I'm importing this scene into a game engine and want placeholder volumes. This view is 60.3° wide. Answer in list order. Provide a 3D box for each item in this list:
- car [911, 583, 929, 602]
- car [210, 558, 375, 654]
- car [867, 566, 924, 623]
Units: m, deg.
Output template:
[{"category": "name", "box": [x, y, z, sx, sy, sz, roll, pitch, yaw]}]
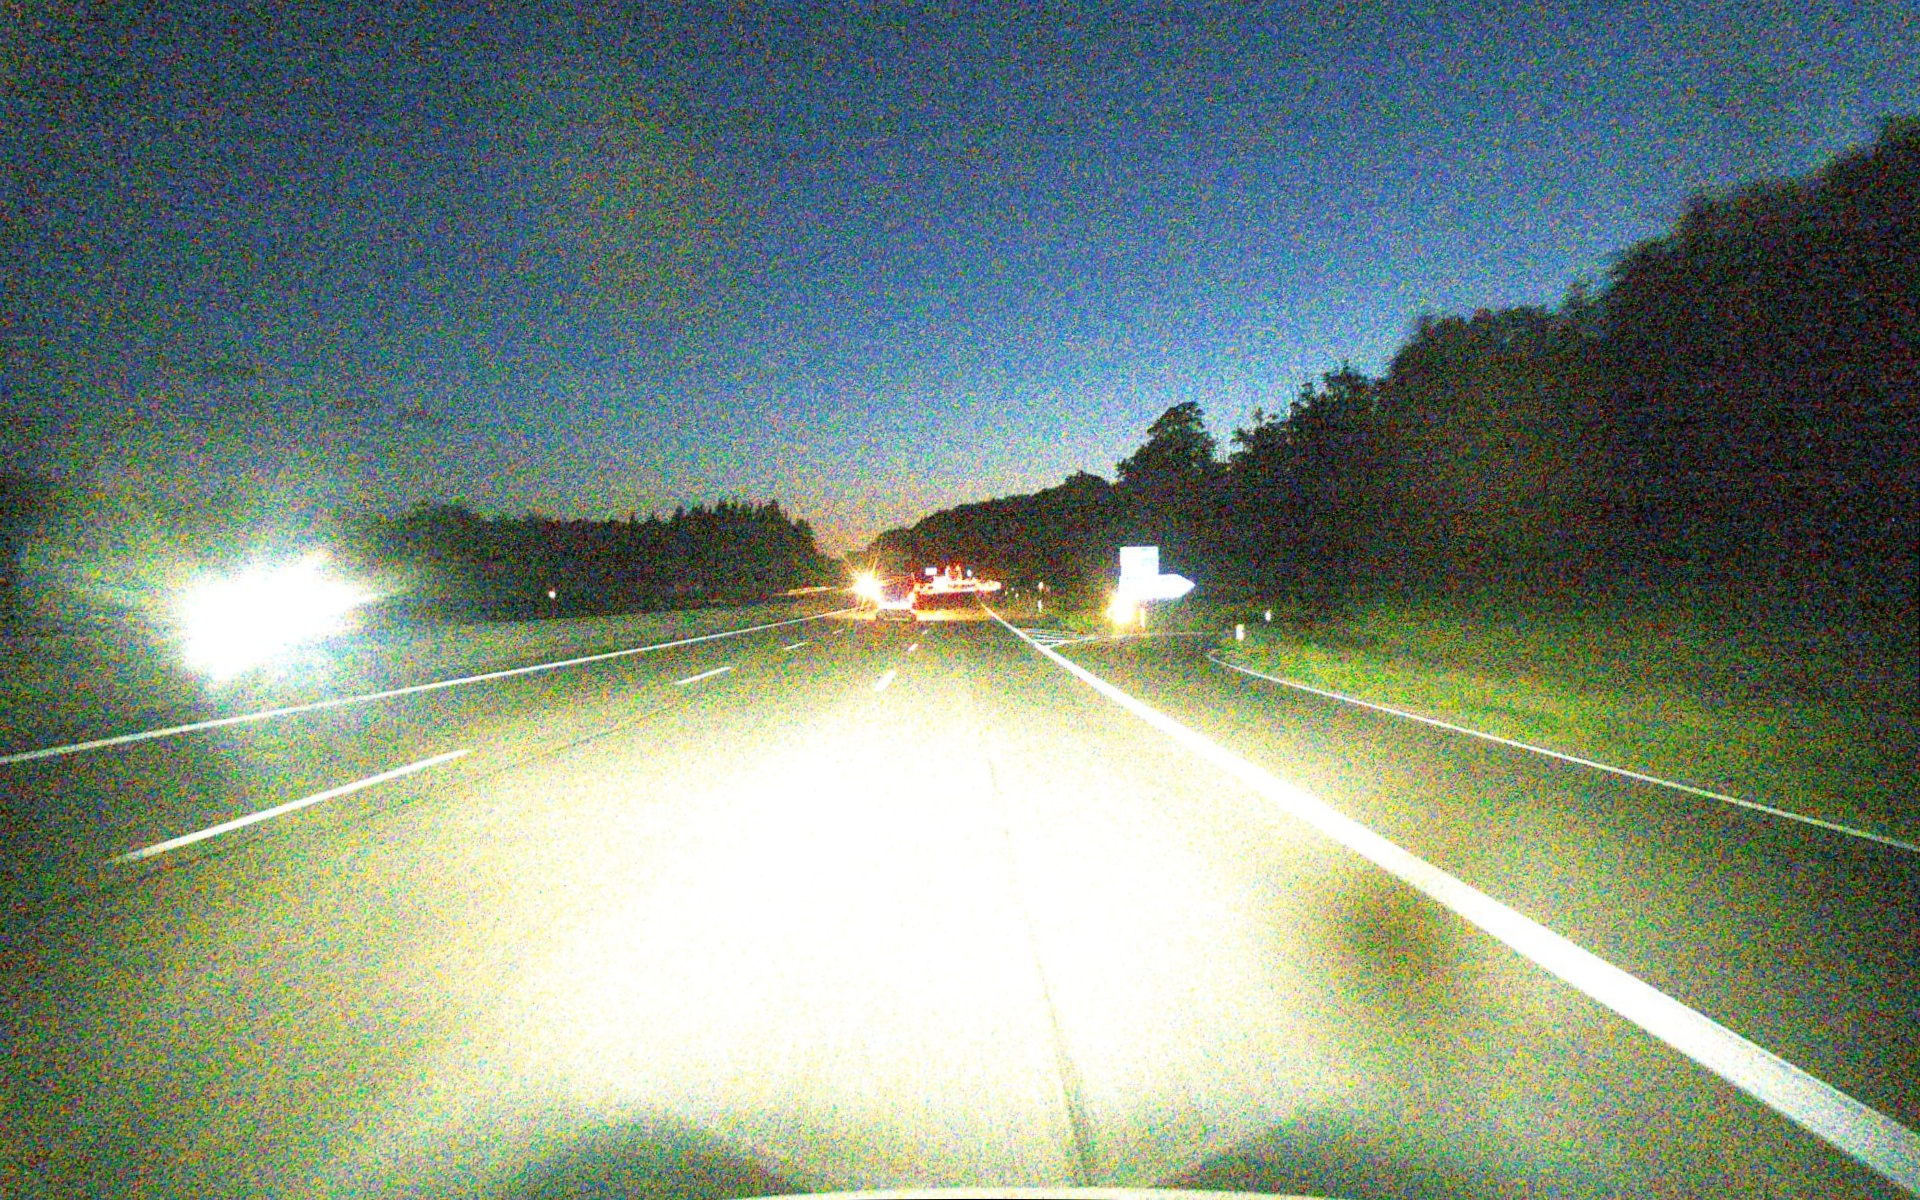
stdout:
[{"category": "car", "box": [-6.146, -1.081, 256.362, 2.730, 2.781, 6.296, 0, -1, -2]}, {"category": "car", "box": [-22.036, 0.201, 55.043, 2.788, 2.989, 6.601, 1, 0, 0]}, {"category": "car", "box": [-3.299, -0.243, 85.755, 2.730, 2.781, 6.297, 0, -1, -1]}]
